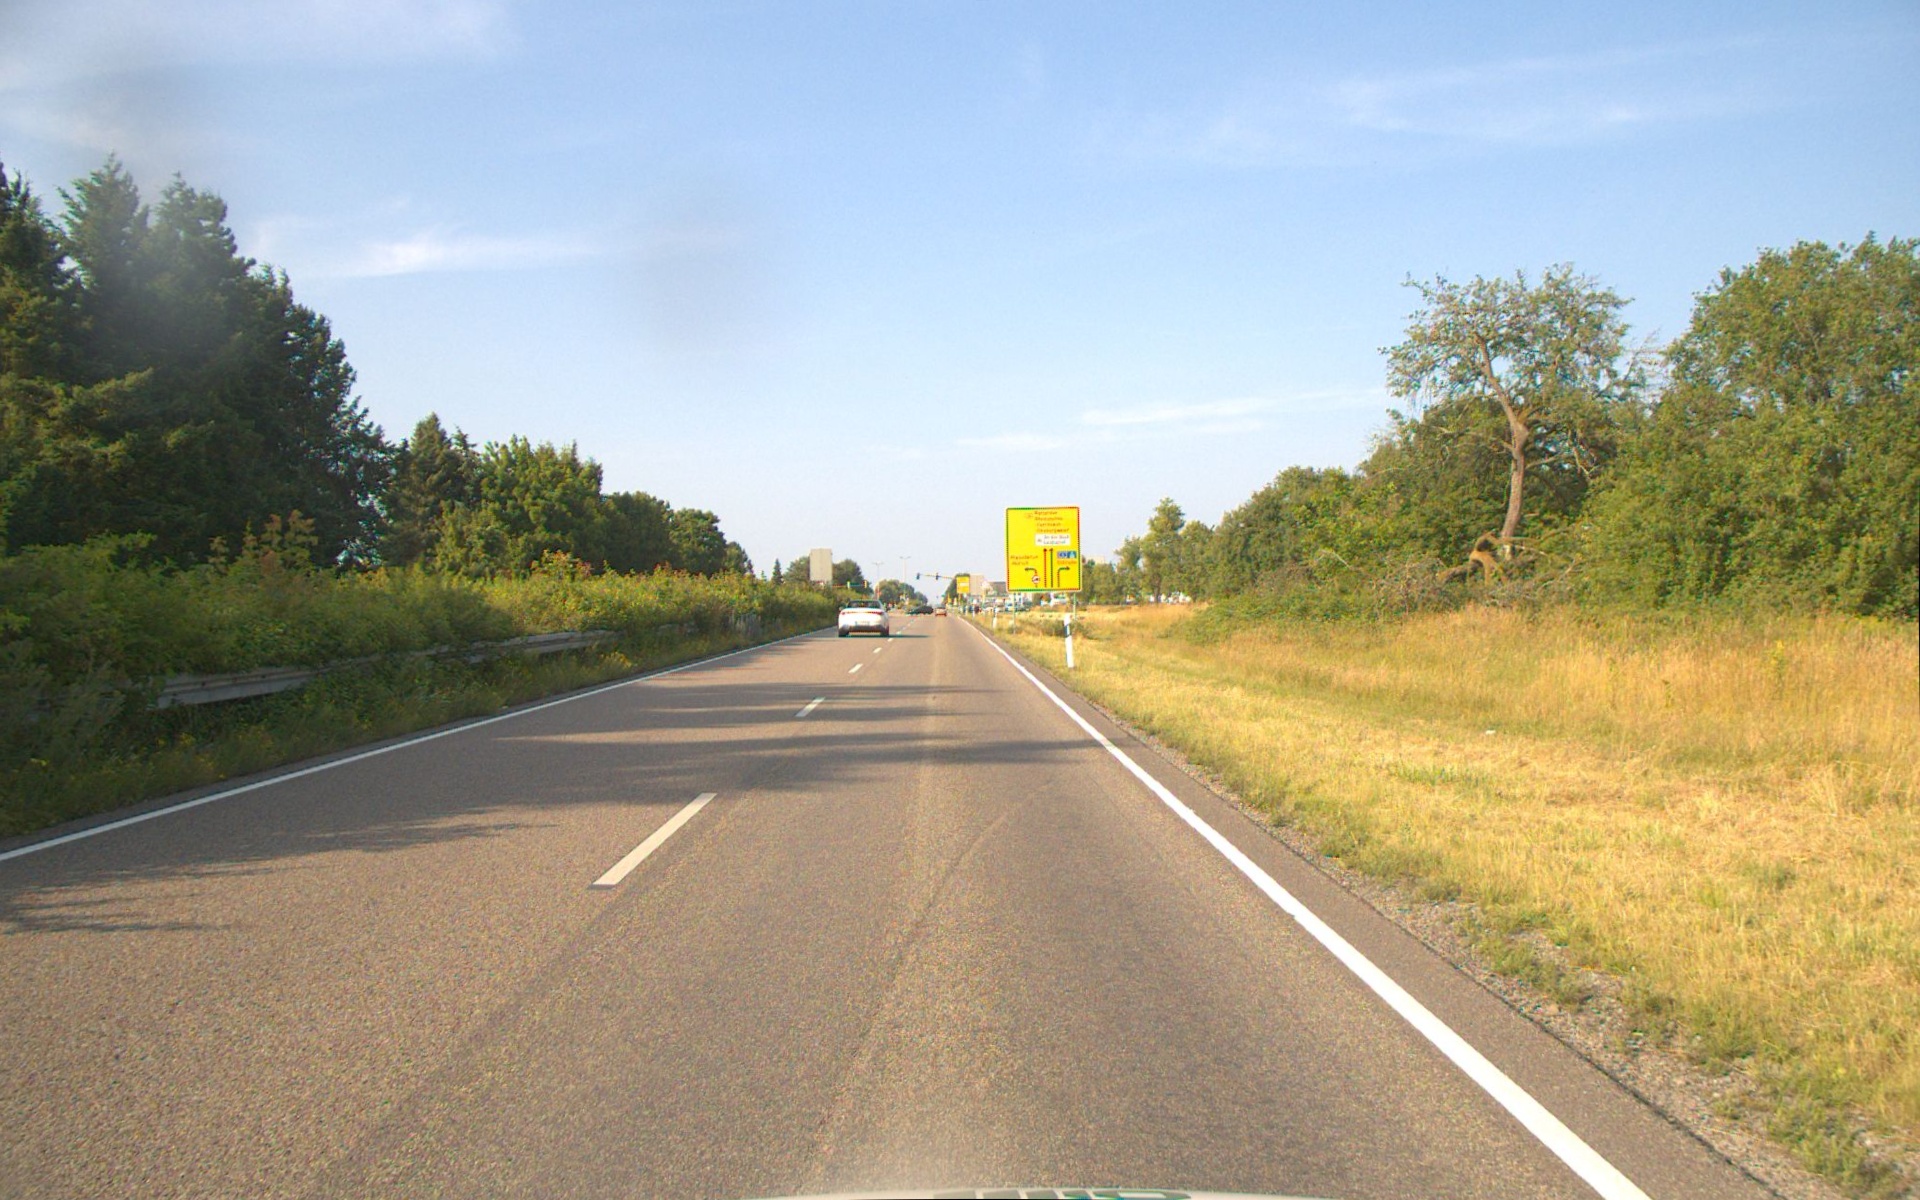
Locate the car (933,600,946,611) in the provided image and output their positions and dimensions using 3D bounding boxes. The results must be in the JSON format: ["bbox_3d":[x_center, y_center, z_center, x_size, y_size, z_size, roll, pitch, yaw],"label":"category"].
[{"bbox_3d":[-3.128,0.810,248.522,1.953,1.512,3.999,0,0,-2],"label":"car"}]

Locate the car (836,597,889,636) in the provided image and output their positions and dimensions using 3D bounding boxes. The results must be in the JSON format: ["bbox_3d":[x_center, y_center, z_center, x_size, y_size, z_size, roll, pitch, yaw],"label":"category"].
[{"bbox_3d":[-3.659,0.606,62.510,1.871,1.447,3.999,0,0,-2],"label":"car"}]
